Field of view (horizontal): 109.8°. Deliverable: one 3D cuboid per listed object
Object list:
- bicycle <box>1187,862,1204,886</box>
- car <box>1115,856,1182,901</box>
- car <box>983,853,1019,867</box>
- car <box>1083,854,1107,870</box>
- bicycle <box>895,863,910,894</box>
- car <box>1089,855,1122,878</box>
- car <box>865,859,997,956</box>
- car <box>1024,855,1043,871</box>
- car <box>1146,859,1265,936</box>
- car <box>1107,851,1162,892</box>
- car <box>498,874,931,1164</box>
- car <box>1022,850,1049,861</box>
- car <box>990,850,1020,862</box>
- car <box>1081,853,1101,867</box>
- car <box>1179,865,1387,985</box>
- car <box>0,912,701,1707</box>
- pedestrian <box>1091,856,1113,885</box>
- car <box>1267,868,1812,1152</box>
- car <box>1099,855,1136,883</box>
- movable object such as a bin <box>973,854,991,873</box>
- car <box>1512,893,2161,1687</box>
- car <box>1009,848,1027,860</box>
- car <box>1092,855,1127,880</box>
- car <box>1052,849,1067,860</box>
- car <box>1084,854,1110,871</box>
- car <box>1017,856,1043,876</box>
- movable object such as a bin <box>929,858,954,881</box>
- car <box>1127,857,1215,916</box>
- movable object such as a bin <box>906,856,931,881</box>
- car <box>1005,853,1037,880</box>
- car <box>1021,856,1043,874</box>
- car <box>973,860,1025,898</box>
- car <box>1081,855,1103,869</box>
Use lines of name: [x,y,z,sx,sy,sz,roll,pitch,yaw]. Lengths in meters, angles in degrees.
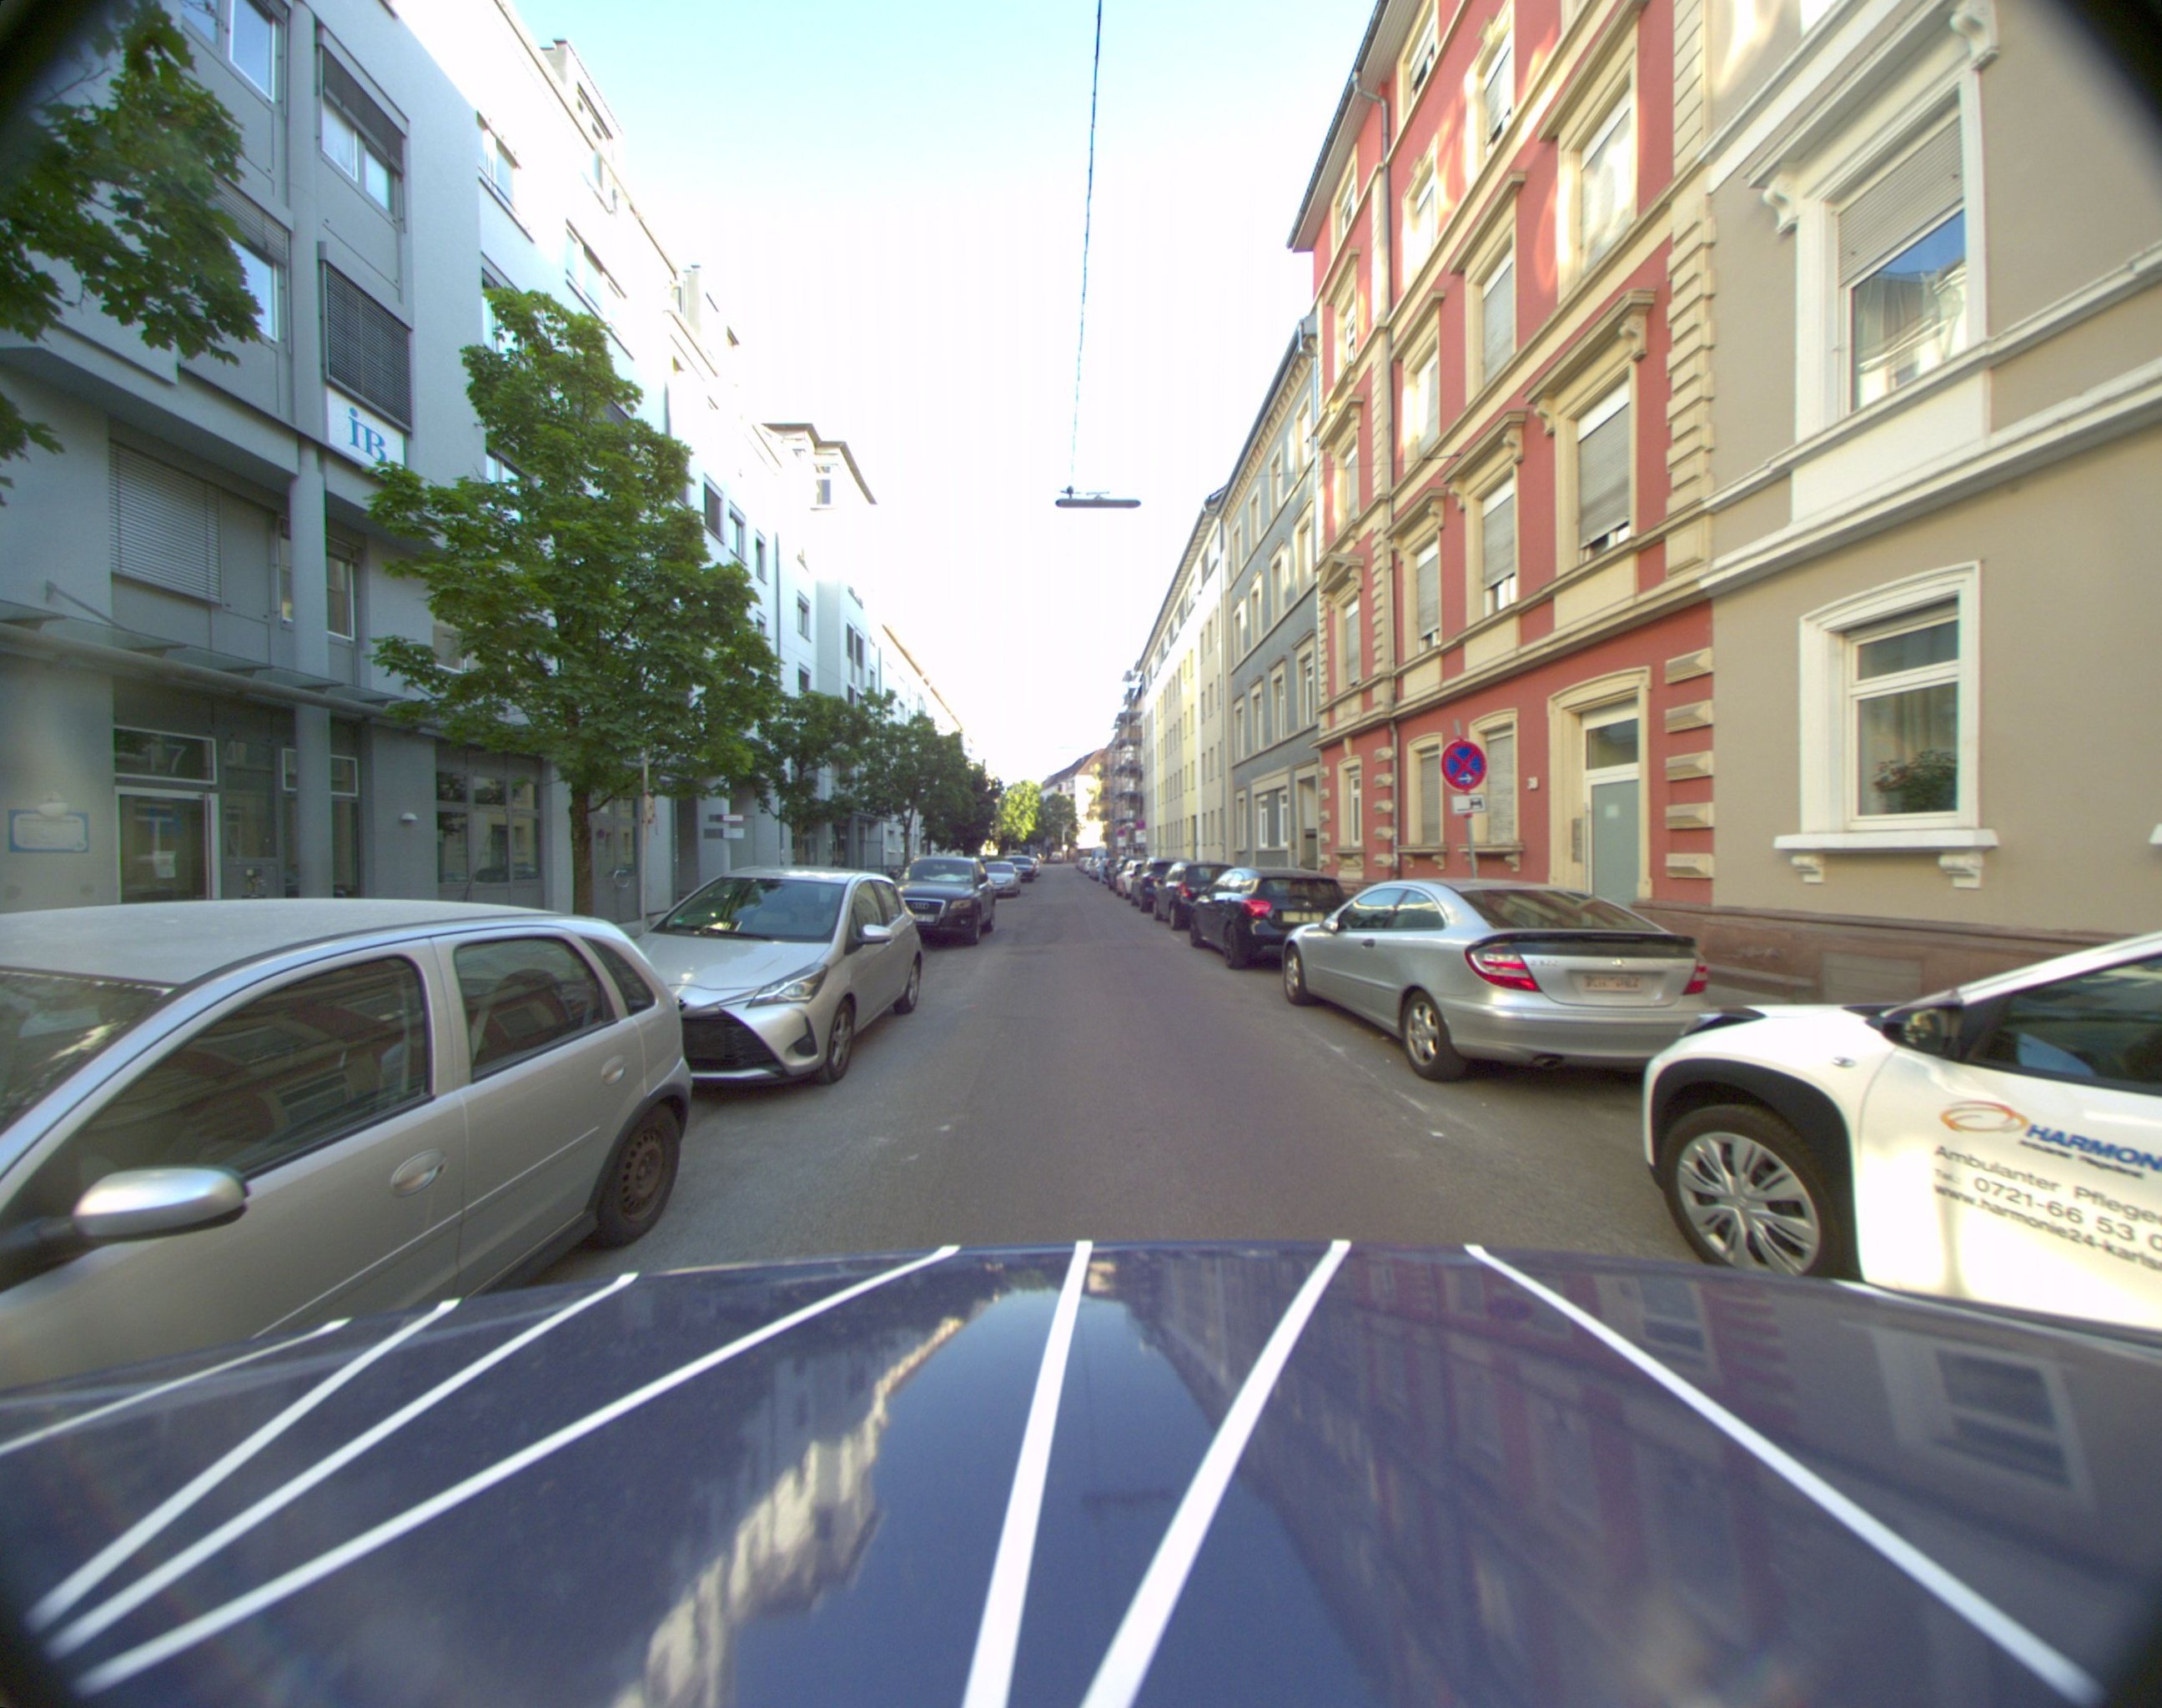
bicycle: [5.306,0.906,35.265,0.451,1.068,1.751,-2,0,-1]
car: [2.449,0.865,28.591,1.926,1.551,4.266,1,0,-3]
car: [-9.228,0.699,87.530,3.998,1.556,1.999,1,0,-4]
car: [1.362,0.779,73.517,1.999,1.439,3.998,1,0,-3]
bicycle: [-7.037,0.956,29.996,0.522,1.161,1.738,1,0,-12]
car: [1.717,0.863,54.245,1.928,1.480,4.615,1,0,-3]
car: [-2.831,0.941,15.347,1.890,1.613,4.433,1,0,-2]
car: [-4.347,0.803,70.224,1.681,1.411,4.135,1,0,-2]
car: [2.757,0.925,17.874,1.906,1.551,4.239,1,0,-3]
car: [2.326,0.750,33.968,1.926,1.654,4.468,1,0,-3]
car: [-2.484,0.998,6.318,1.681,1.516,3.970,1,0,0]
car: [-7.333,0.200,123.187,4.205,1.760,2.086,1,1,44]
car: [-11.474,0.242,114.569,4.214,1.760,2.082,1,1,1]
car: [1.080,0.670,84.248,1.999,1.423,3.998,1,0,-3]
car: [2.880,0.946,11.901,1.926,1.475,4.266,1,0,-3]
car: [-2.629,1.021,1.637,1.680,1.467,3.729,1,0,1]
pedestrian: [1.102,0.864,39.772,0.868,1.455,0.804,1,1,25]
car: [3.181,0.950,6.507,1.926,1.551,4.266,1,0,-3]
car: [2.073,0.819,44.027,1.784,1.480,4.419,1,0,-2]
movable object such as a bin: [-7.729,0.752,59.212,1.288,1.428,1.223,0,1,-2]
car: [3.166,0.959,1.705,1.925,1.498,4.267,1,0,0]
car: [-11.617,-0.032,139.929,2.163,2.270,6.199,1,0,-15]
car: [1.785,0.802,48.876,1.928,1.480,4.616,1,0,-2]
car: [-3.696,0.112,131.415,2.081,1.760,4.214,1,0,-8]
car: [1.440,0.755,68.689,1.999,1.496,3.998,1,0,-3]
car: [-3.951,0.895,59.093,1.680,1.474,3.652,1,0,1]
movable object such as a bin: [-8.195,0.880,44.753,1.265,1.313,1.138,0,1,-2]
car: [2.572,0.900,22.690,1.926,1.551,4.266,1,0,-3]
movable object such as a bin: [-9.494,0.821,44.463,1.265,1.428,1.138,0,1,-2]
car: [-3.783,0.760,48.490,1.876,1.626,4.720,1,0,-3]
car: [-4.107,0.879,64.040,1.681,1.411,4.135,1,0,-2]
car: [-3.355,0.987,31.692,1.768,1.420,4.344,1,0,-2]
car: [1.119,0.798,78.827,1.999,1.423,3.998,1,0,-3]
